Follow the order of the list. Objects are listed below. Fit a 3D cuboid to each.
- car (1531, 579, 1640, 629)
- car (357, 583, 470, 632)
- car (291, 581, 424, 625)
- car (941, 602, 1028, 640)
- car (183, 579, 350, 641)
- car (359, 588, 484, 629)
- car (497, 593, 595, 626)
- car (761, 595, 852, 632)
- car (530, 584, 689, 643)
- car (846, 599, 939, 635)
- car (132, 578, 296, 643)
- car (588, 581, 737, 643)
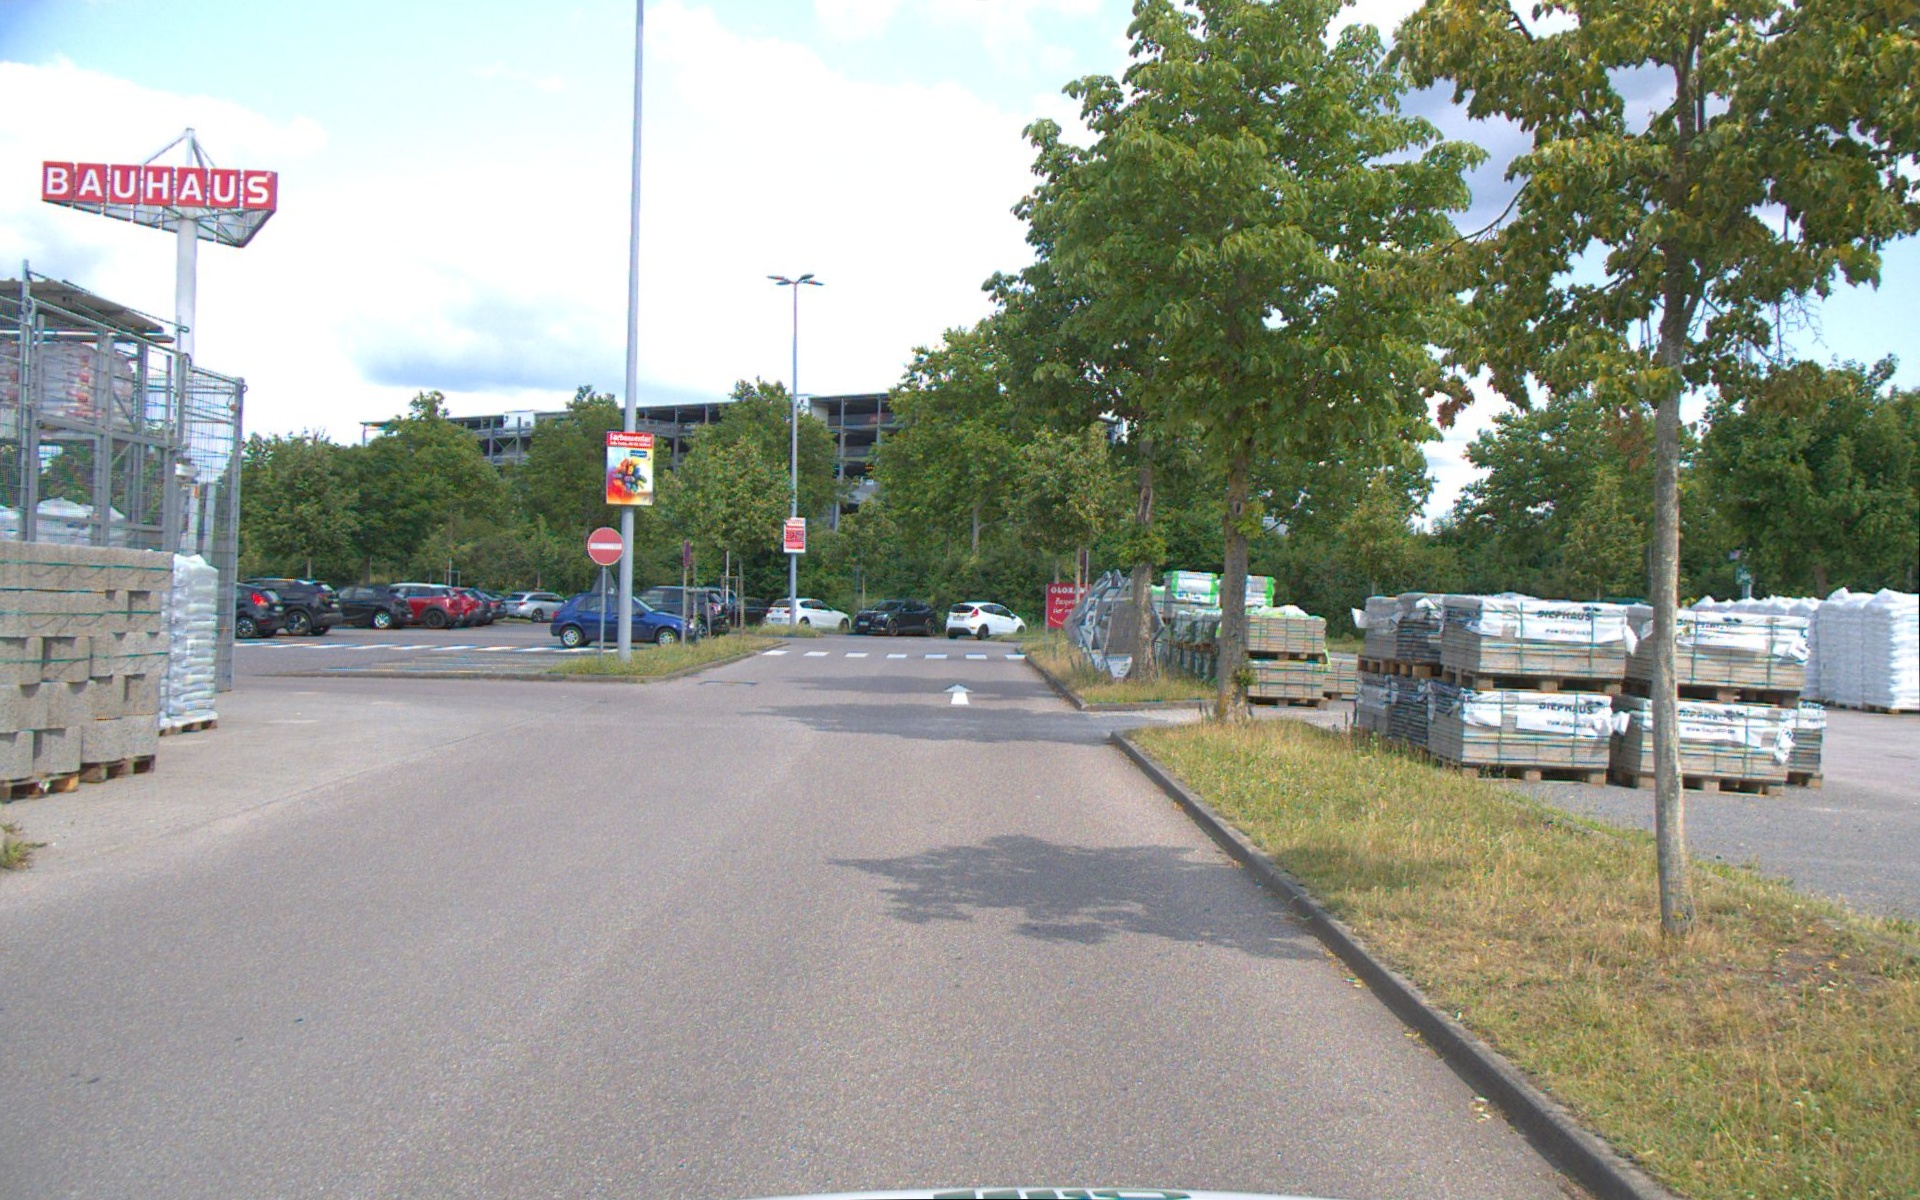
[{"bbox_3d":[26.732,0.159,70.711,3.925,2.049,1.990,1,0,39],"label":"car"},{"bbox_3d":[-19.141,0.268,58.019,3.367,1.609,1.709,1,0,-3],"label":"car"},{"bbox_3d":[-20.116,0.102,55.351,3.794,1.393,1.728,1,0,-3],"label":"car"},{"bbox_3d":[0.993,0.844,65.720,1.638,1.436,3.540,1,0,38],"label":"car"},{"bbox_3d":[-19.783,0.276,47.313,3.989,1.653,1.783,1,0,-2],"label":"car"},{"bbox_3d":[-19.667,0.309,60.545,3.993,1.423,1.766,1,0,-3],"label":"car"},{"bbox_3d":[-19.950,0.473,79.927,1.747,1.531,4.640,1,0,33],"label":"car"},{"bbox_3d":[-6.573,0.576,71.192,1.657,1.536,4.065,0,-1,37],"label":"car"},{"bbox_3d":[-8.912,0.340,42.241,3.674,1.392,1.621,1,0,-1],"label":"car"},{"bbox_3d":[-2.768,0.711,68.701,1.698,1.435,4.229,1,0,34],"label":"car"},{"bbox_3d":[-20.234,0.278,44.974,3.623,1.653,1.781,1,0,-6],"label":"car"},{"bbox_3d":[-8.469,0.328,47.327,3.868,1.653,1.736,1,0,1],"label":"car"}]
